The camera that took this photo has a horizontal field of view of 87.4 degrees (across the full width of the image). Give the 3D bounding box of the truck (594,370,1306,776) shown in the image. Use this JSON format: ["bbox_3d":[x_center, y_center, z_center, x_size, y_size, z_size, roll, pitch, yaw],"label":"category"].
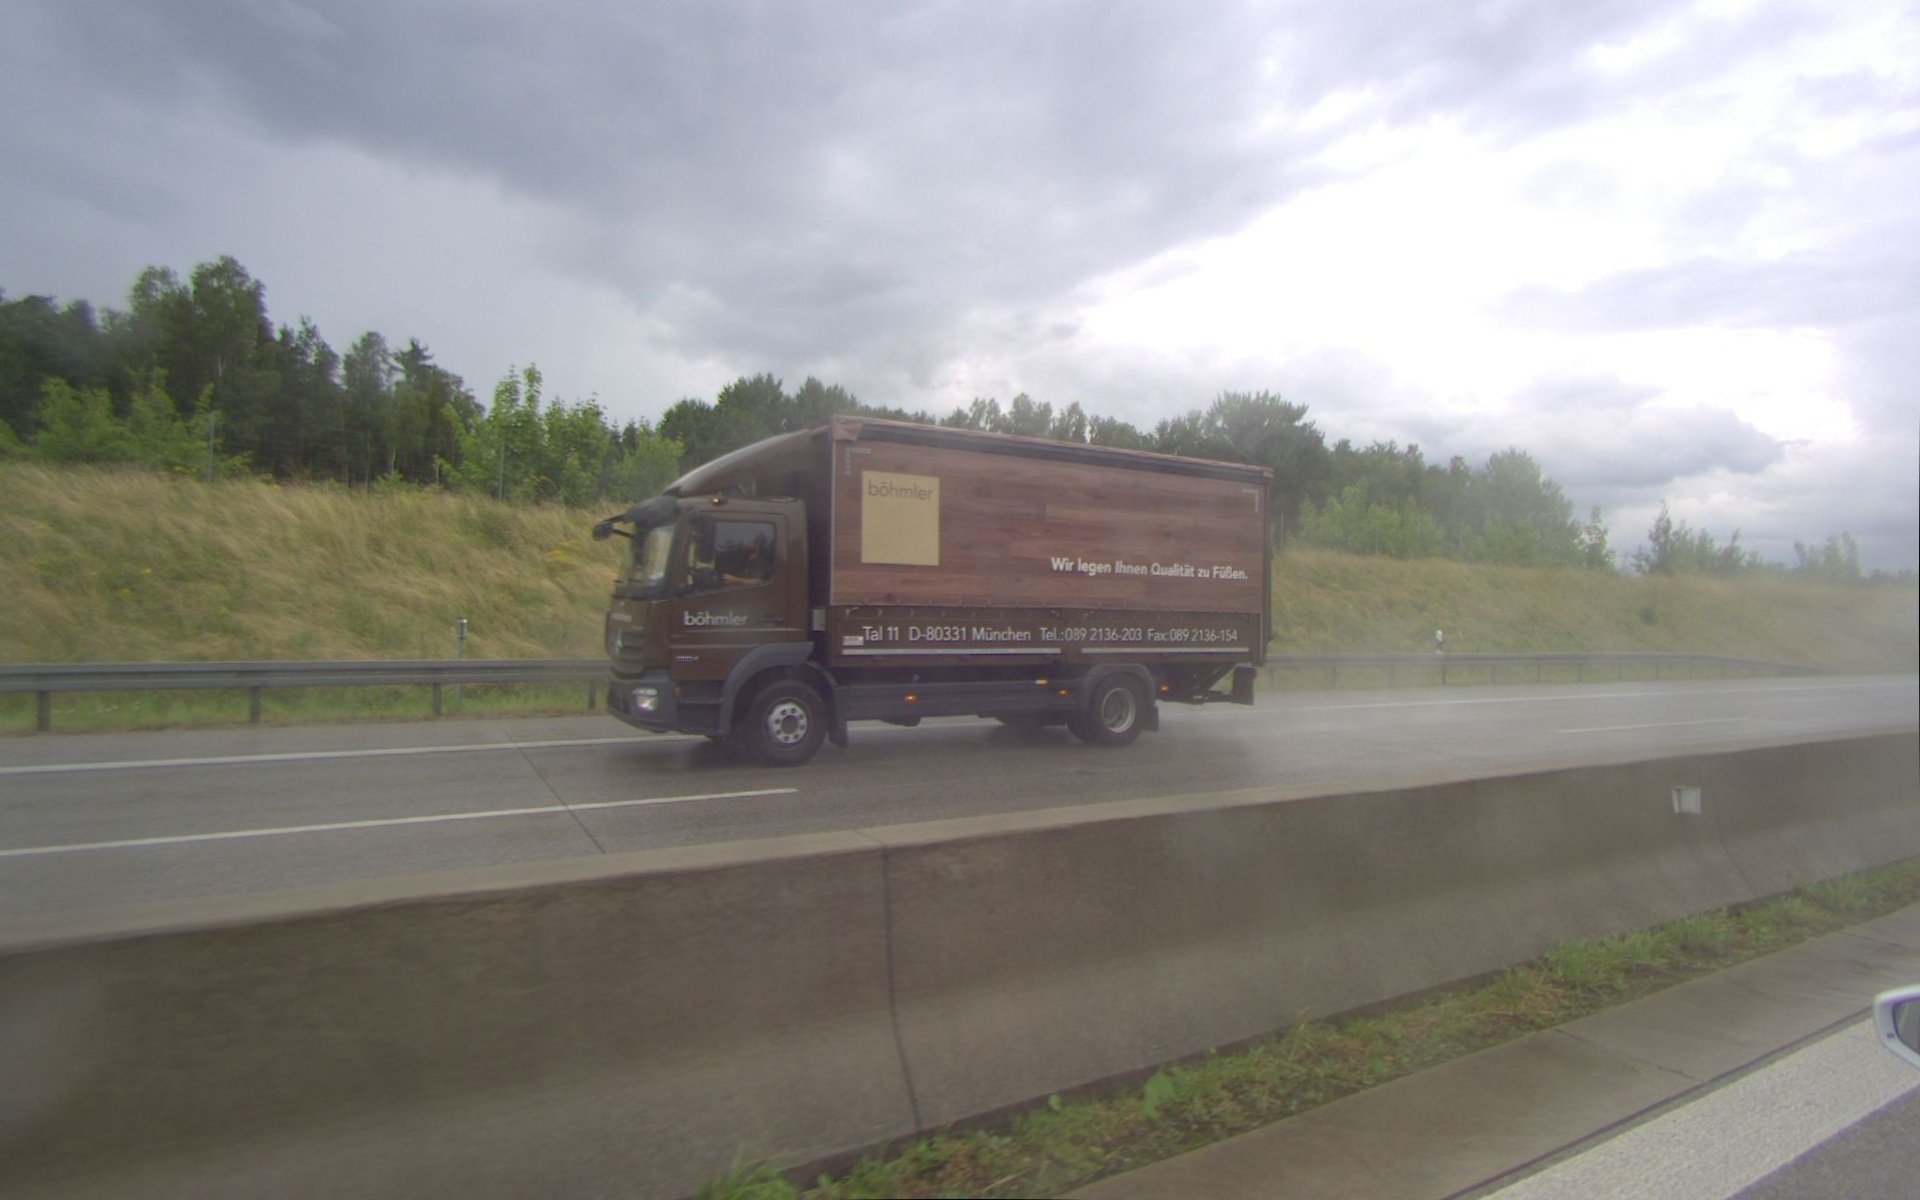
[{"bbox_3d":[0.141,-0.152,12.330,8.267,3.580,3.153,1,-1,-30],"label":"truck"}]
